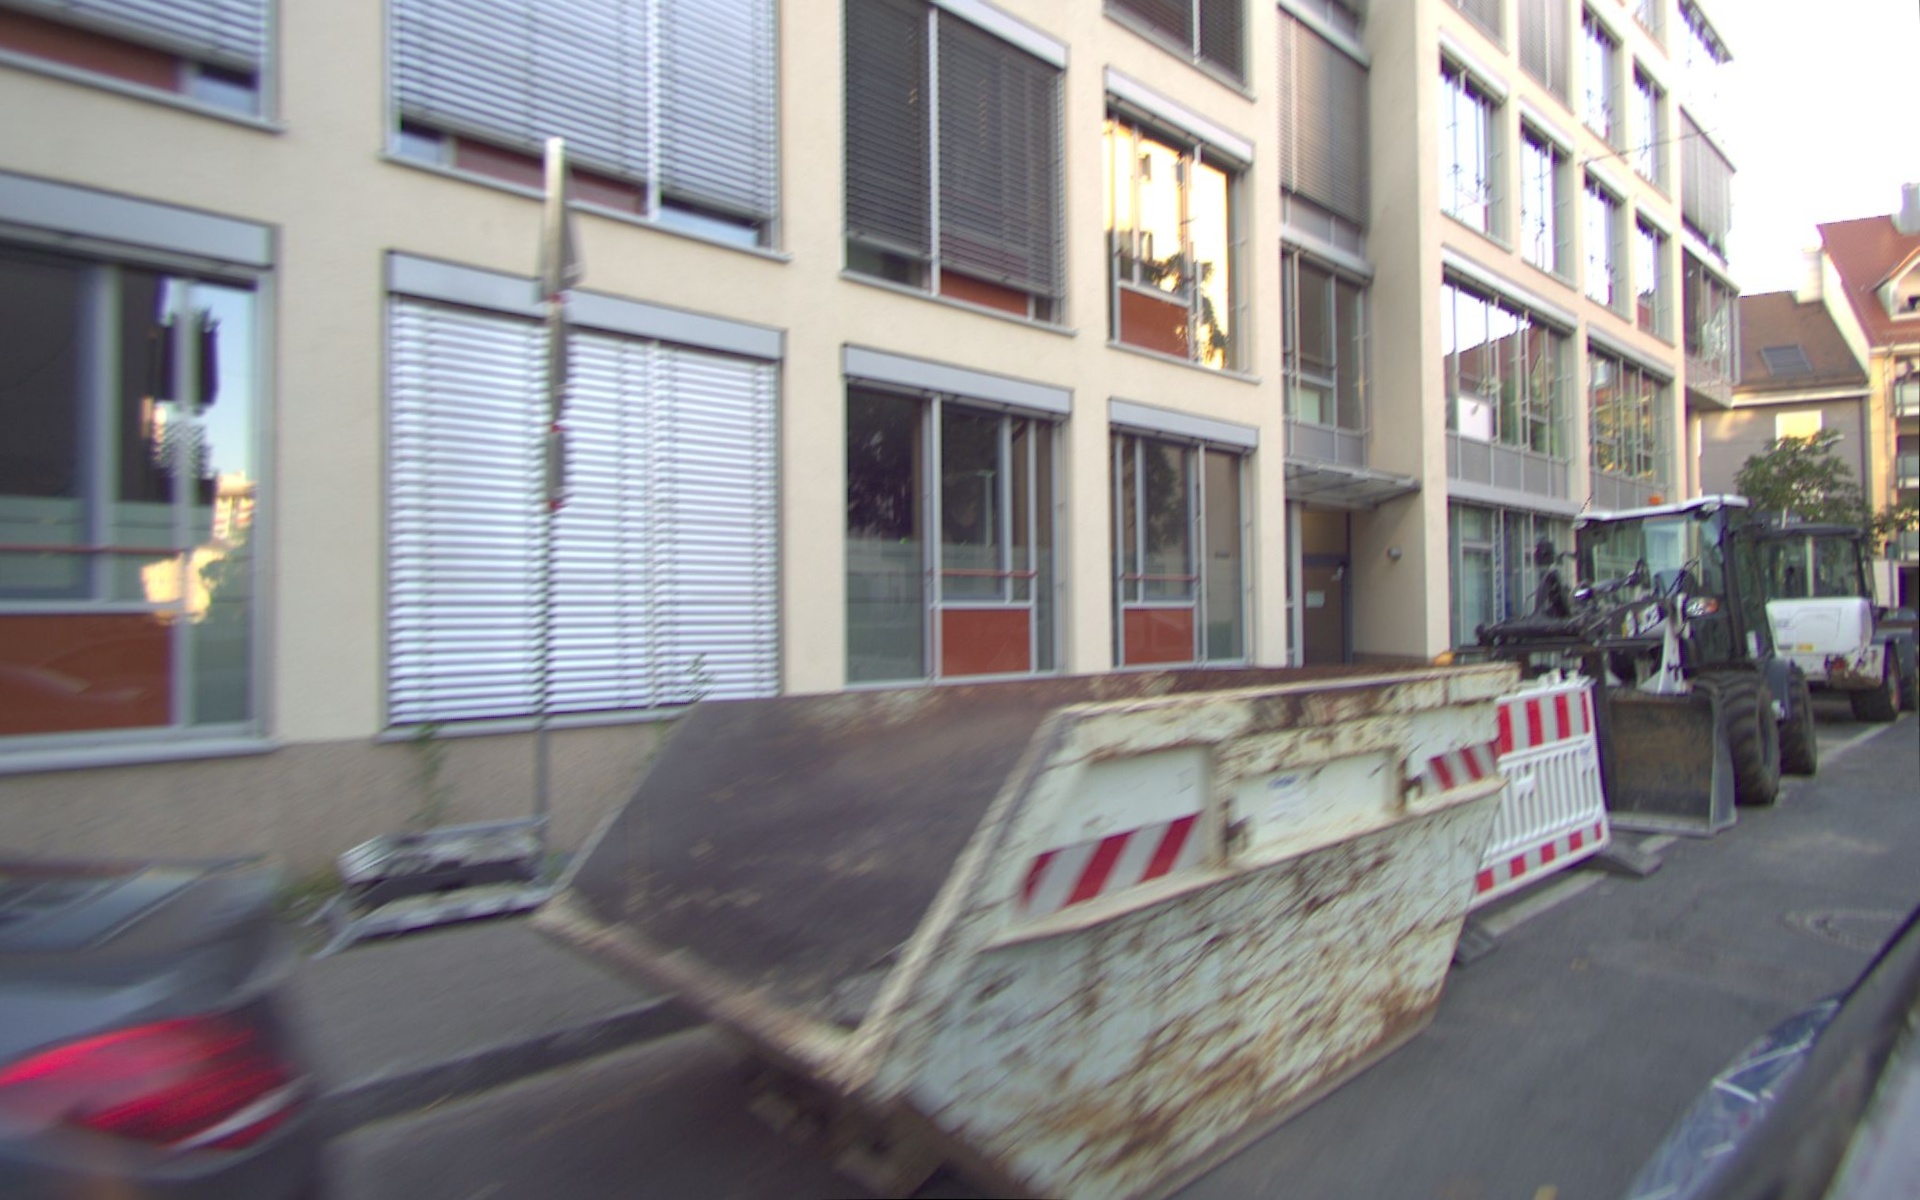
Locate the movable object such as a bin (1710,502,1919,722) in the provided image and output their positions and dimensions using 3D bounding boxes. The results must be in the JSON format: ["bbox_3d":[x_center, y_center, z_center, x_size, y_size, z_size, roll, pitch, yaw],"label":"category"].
[{"bbox_3d":[12.282,0.154,14.238,4.036,2.668,1.800,0,-1,-39],"label":"movable object such as a bin"}]

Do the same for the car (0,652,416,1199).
[{"bbox_3d":[-3.029,0.827,0.714,4.402,1.424,1.695,0,-2,-42],"label":"car"}]

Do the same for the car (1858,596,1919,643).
[{"bbox_3d":[34.343,0.679,36.828,1.729,1.545,3.330,-1,1,28],"label":"car"}]

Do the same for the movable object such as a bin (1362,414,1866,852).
[{"bbox_3d":[5.848,0.209,8.699,5.445,2.629,2.170,0,-1,-41],"label":"movable object such as a bin"}]
